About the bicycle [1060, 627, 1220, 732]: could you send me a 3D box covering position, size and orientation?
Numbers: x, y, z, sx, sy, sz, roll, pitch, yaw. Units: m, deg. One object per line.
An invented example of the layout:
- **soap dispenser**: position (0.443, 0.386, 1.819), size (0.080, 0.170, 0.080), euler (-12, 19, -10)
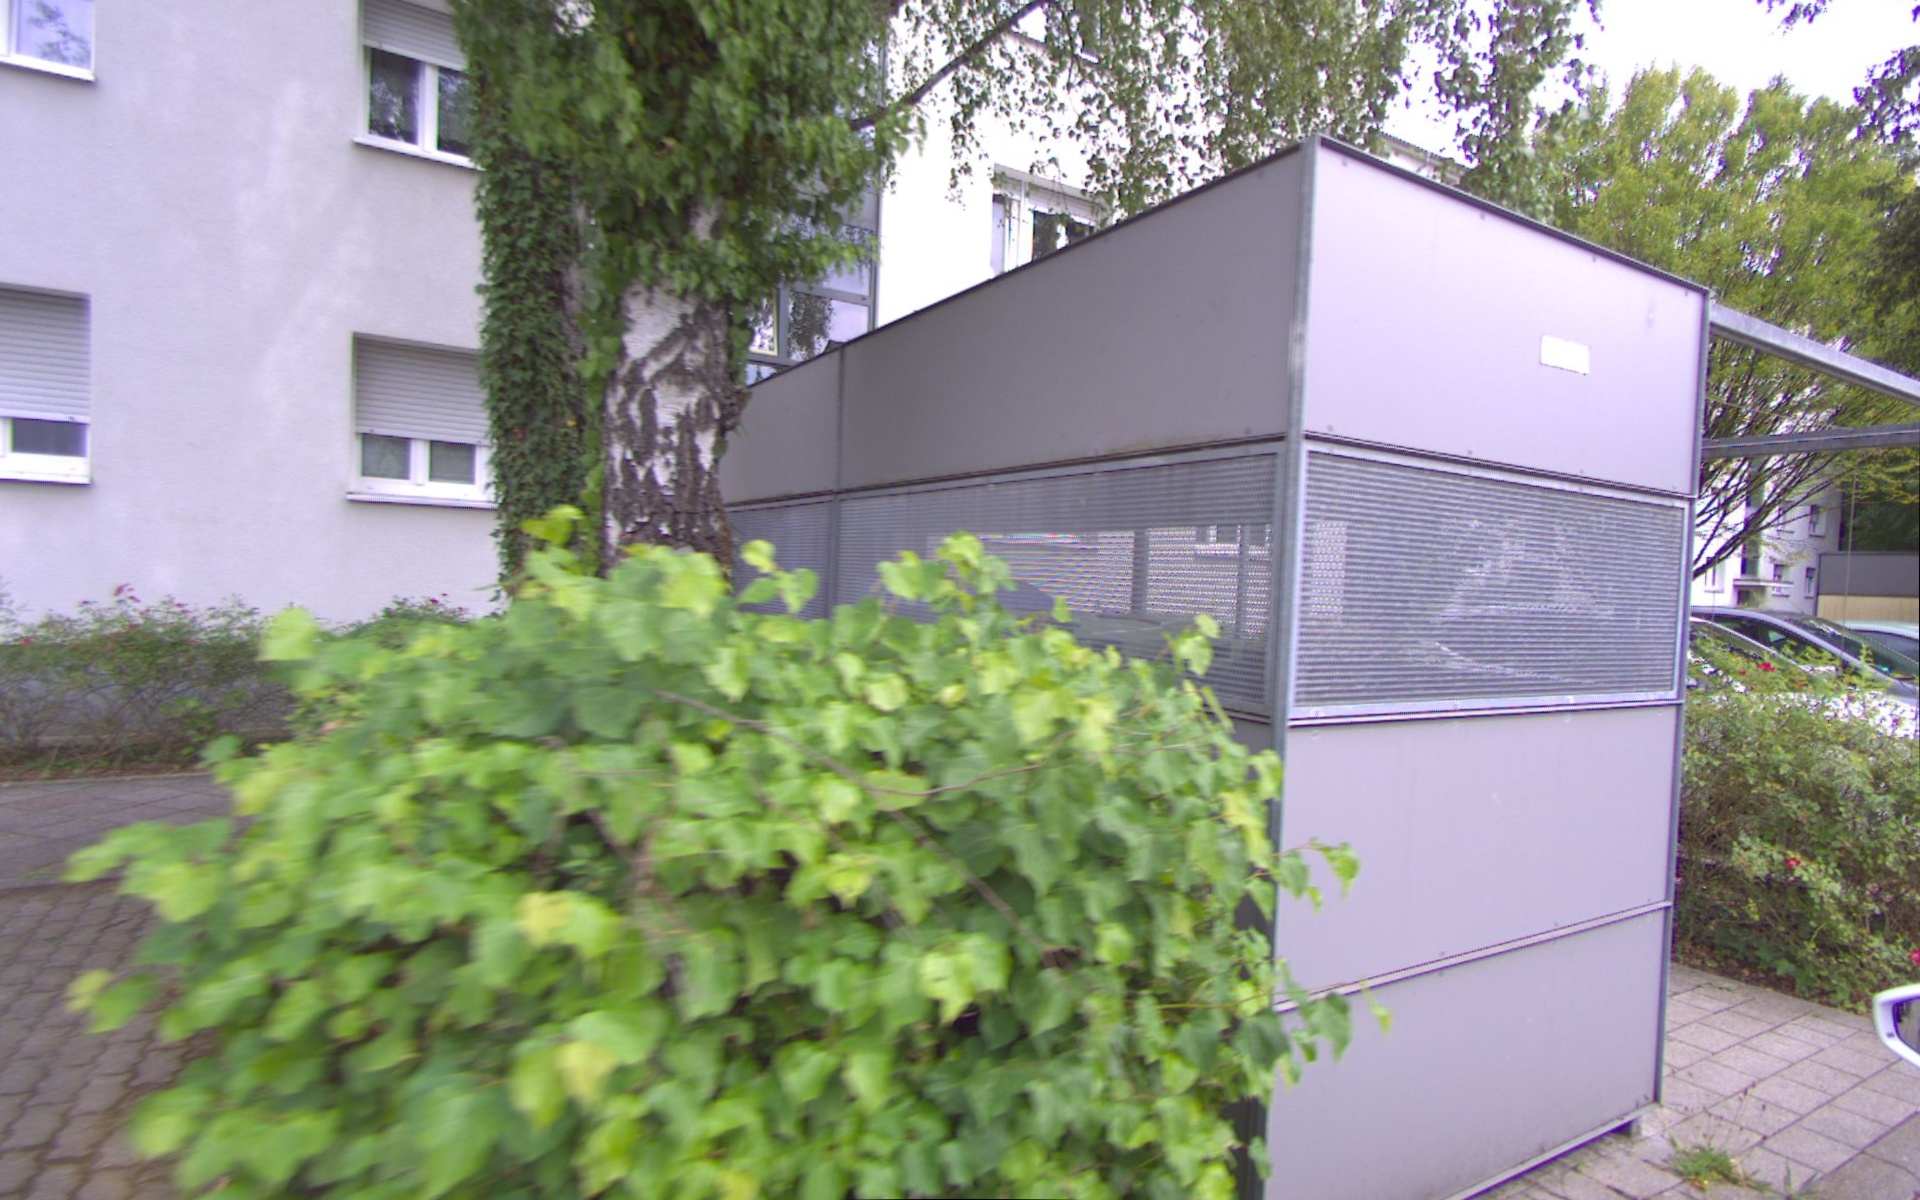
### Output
- **bicycle**: position (1.998, 0.854, 11.214), size (1.638, 1.017, 0.576), euler (2, 1, 30)

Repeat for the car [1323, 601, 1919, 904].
- **car**: position (4.877, 0.820, 7.313), size (1.774, 1.479, 3.967), euler (2, 1, -30)

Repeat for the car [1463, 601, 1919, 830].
- **car**: position (6.937, 0.848, 8.629), size (1.820, 1.522, 4.390), euler (2, 1, -30)

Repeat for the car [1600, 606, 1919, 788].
- **car**: position (9.033, 0.911, 9.755), size (1.820, 1.522, 4.390), euler (2, 1, -30)
